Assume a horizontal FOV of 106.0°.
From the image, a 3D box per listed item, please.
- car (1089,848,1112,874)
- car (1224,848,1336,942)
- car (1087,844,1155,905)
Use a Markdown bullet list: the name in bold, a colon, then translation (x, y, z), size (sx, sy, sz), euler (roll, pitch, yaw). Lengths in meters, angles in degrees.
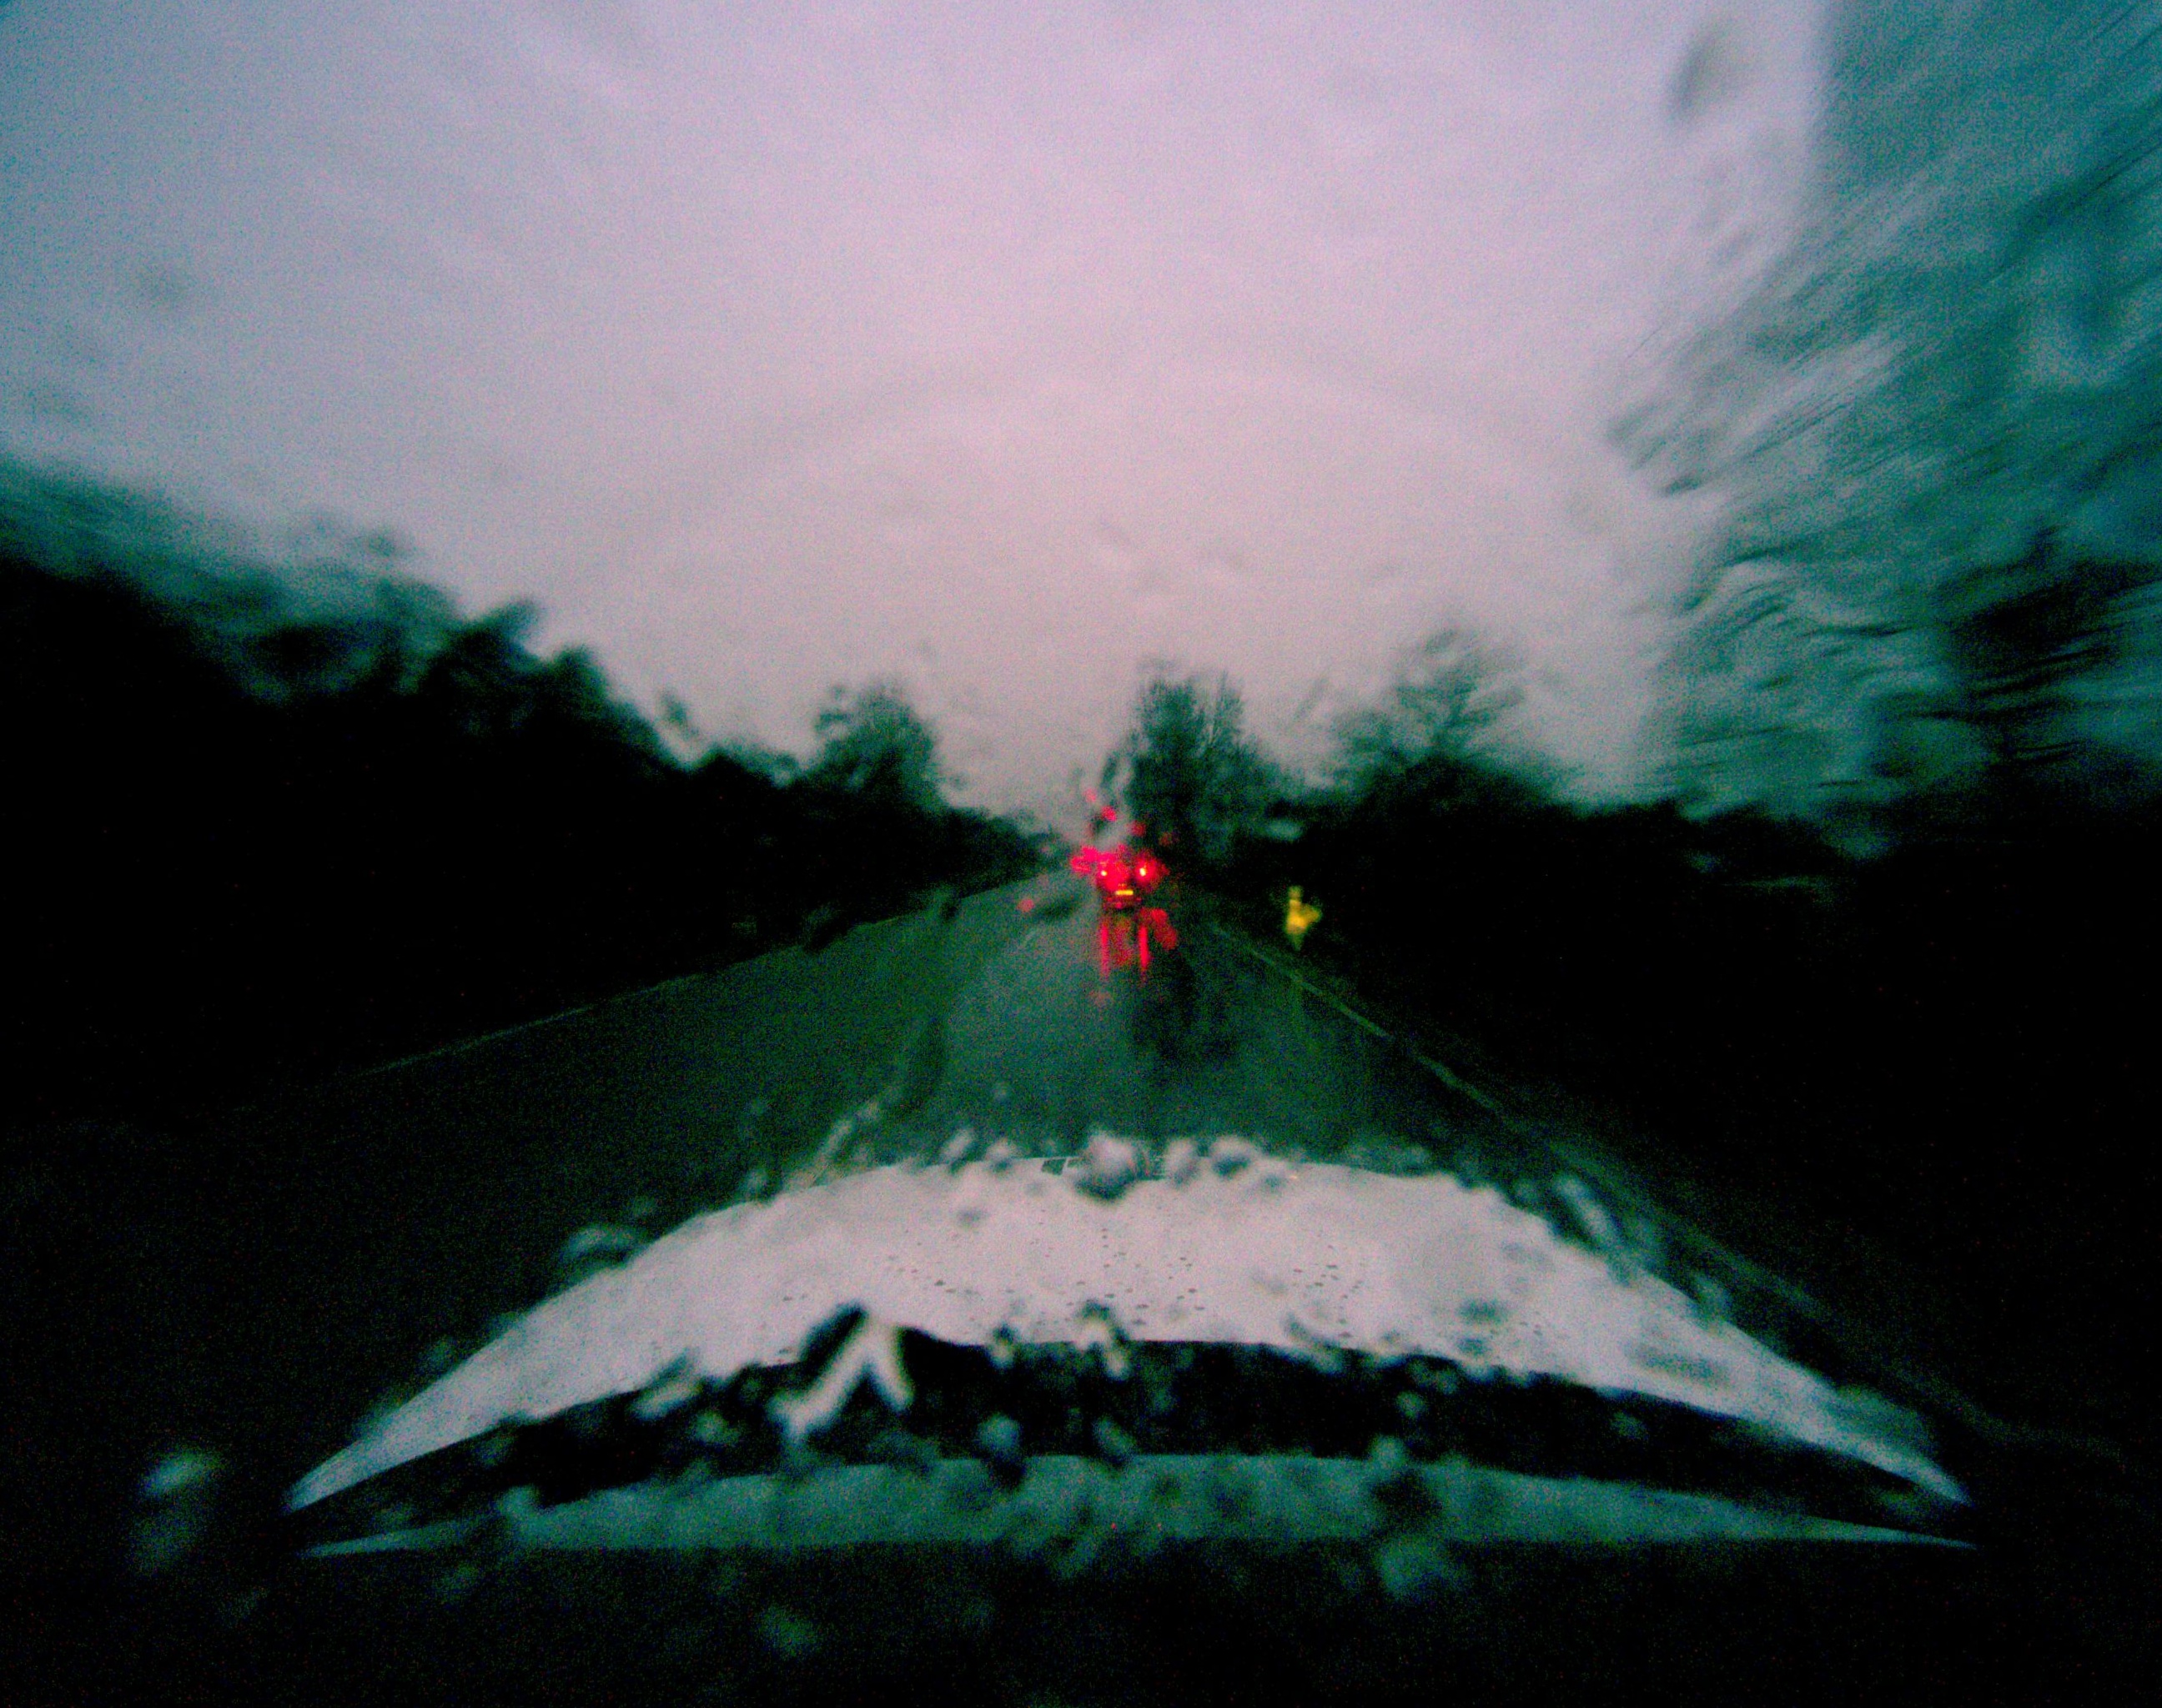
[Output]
- **car**: translation (1.487, 0.505, 60.967), size (1.568, 1.875, 3.712), euler (0, 0, 3)
- **car**: translation (3.710, 0.697, 15.677), size (1.556, 1.591, 3.493), euler (0, 0, 4)
- **car**: translation (1.272, 0.592, 25.872), size (1.985, 1.784, 4.003), euler (0, 0, 3)
